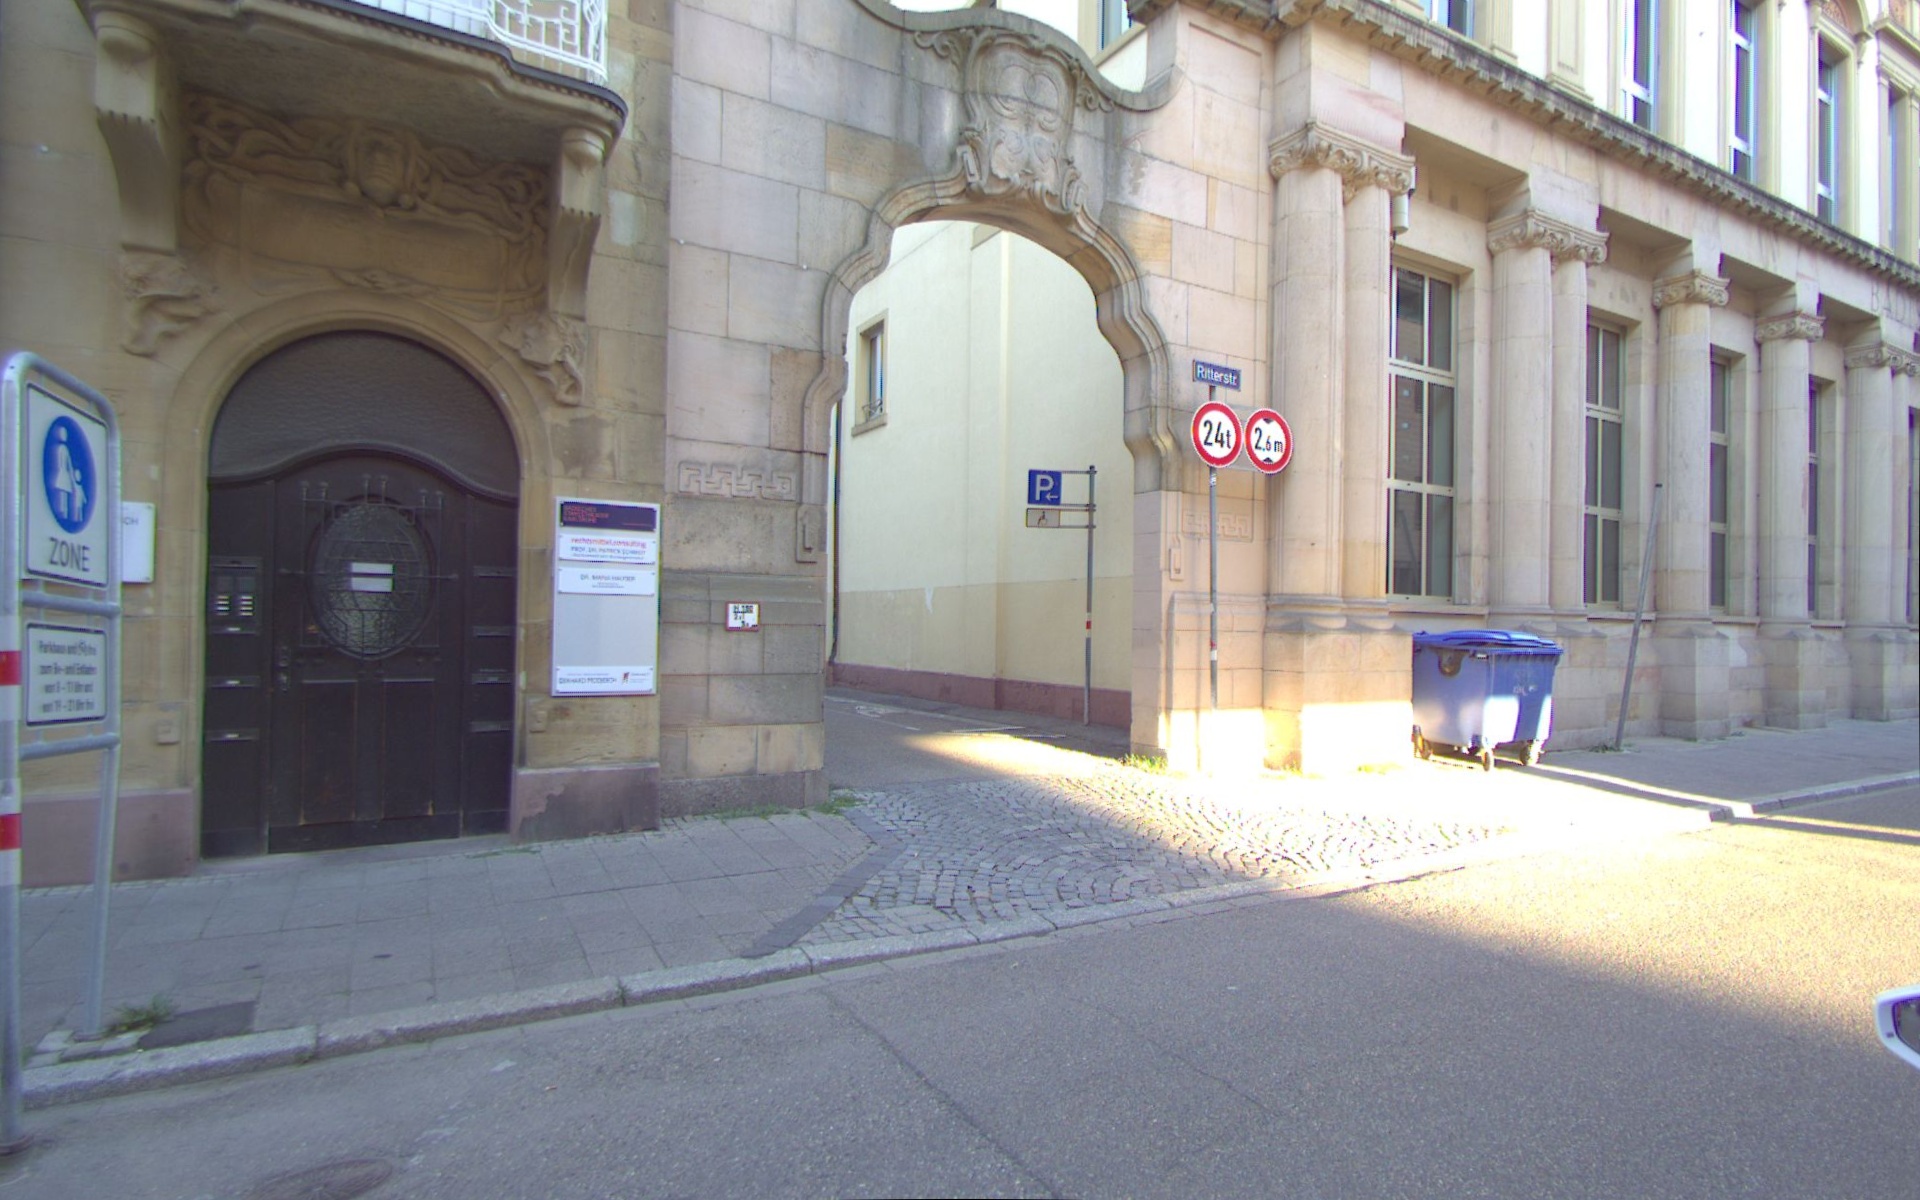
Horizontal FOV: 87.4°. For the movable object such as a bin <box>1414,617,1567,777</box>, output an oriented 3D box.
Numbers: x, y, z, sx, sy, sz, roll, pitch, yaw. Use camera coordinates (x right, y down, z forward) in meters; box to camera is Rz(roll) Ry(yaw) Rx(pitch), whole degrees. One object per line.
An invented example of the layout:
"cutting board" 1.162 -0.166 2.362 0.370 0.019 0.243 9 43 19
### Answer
"movable object such as a bin" 5.456 0.949 10.331 1.275 1.523 0.825 1 0 -29
